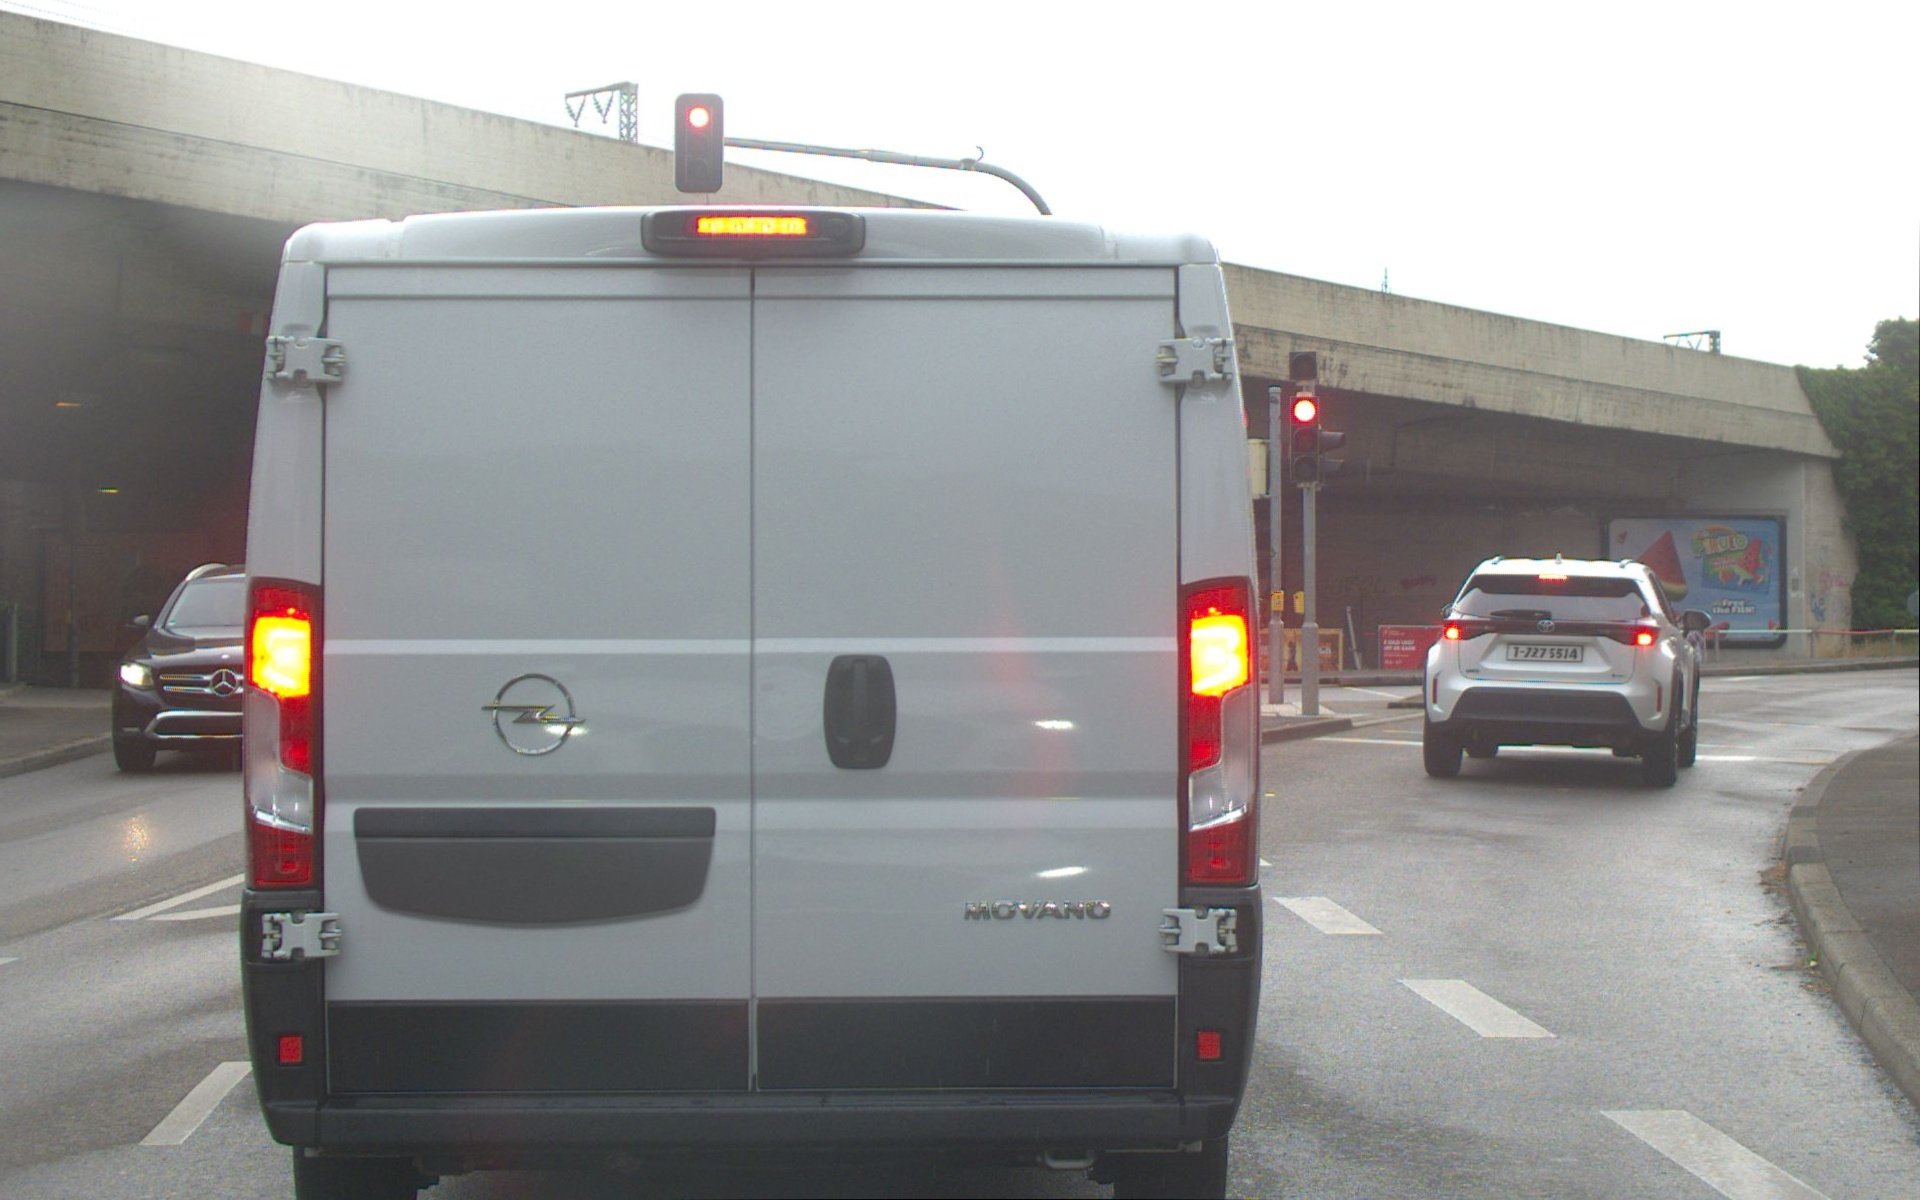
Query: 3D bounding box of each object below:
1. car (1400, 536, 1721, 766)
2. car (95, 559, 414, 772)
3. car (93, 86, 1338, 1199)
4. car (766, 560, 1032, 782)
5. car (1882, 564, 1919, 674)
[{"bbox_3d":[4.485,0.368,25.236,1.995,1.544,3.997,0,-1,15],"label":"car"},{"bbox_3d":[-5.735,0.484,28.453,1.914,1.621,4.435,0,0,-3],"label":"car"},{"bbox_3d":[-0.469,0.274,9.060,2.305,2.335,5.282,-1,-1,0],"label":"car"},{"bbox_3d":[-0.434,0.575,28.769,1.994,1.723,3.999,0,-1,2],"label":"car"},{"bbox_3d":[14.915,0.274,48.362,3.989,1.513,1.999,1,-1,-44],"label":"car"}]
